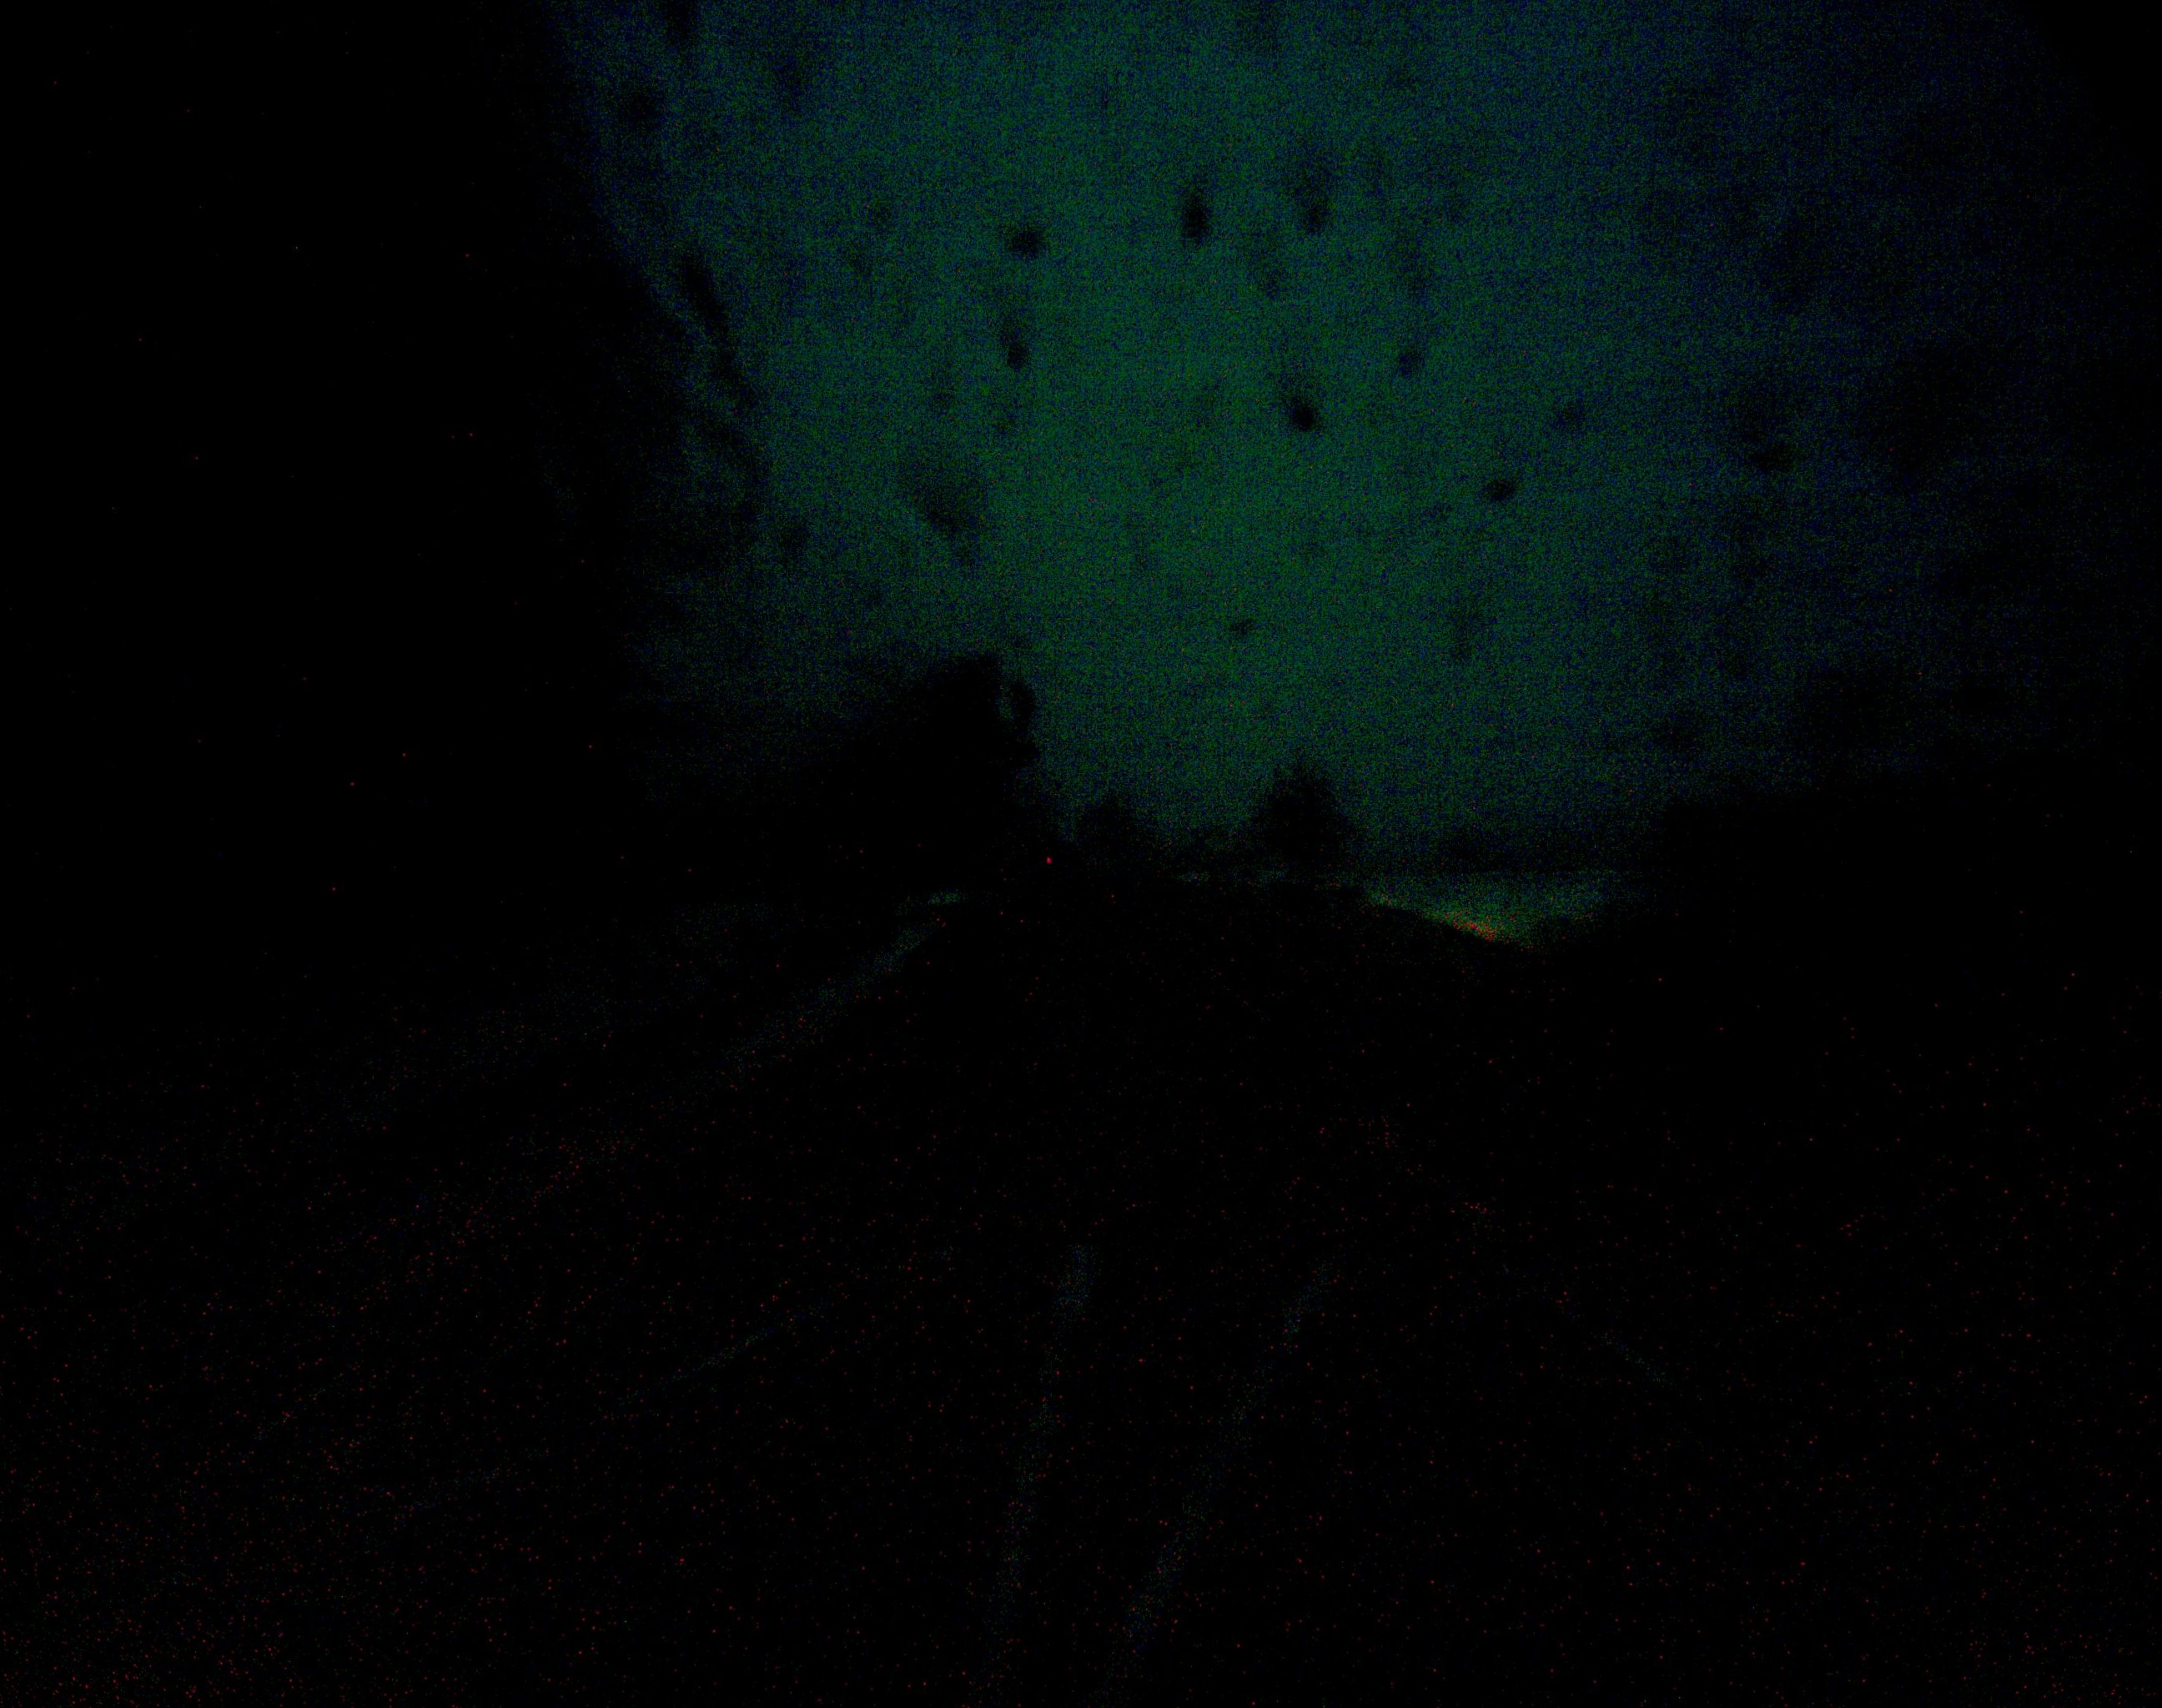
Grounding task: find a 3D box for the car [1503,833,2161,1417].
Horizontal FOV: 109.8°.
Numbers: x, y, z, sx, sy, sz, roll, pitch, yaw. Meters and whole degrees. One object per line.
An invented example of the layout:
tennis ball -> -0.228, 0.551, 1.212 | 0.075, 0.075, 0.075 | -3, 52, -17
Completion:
car -> 3.977, 0.776, 3.343 | 1.756, 1.683, 4.426 | -1, -1, 0
